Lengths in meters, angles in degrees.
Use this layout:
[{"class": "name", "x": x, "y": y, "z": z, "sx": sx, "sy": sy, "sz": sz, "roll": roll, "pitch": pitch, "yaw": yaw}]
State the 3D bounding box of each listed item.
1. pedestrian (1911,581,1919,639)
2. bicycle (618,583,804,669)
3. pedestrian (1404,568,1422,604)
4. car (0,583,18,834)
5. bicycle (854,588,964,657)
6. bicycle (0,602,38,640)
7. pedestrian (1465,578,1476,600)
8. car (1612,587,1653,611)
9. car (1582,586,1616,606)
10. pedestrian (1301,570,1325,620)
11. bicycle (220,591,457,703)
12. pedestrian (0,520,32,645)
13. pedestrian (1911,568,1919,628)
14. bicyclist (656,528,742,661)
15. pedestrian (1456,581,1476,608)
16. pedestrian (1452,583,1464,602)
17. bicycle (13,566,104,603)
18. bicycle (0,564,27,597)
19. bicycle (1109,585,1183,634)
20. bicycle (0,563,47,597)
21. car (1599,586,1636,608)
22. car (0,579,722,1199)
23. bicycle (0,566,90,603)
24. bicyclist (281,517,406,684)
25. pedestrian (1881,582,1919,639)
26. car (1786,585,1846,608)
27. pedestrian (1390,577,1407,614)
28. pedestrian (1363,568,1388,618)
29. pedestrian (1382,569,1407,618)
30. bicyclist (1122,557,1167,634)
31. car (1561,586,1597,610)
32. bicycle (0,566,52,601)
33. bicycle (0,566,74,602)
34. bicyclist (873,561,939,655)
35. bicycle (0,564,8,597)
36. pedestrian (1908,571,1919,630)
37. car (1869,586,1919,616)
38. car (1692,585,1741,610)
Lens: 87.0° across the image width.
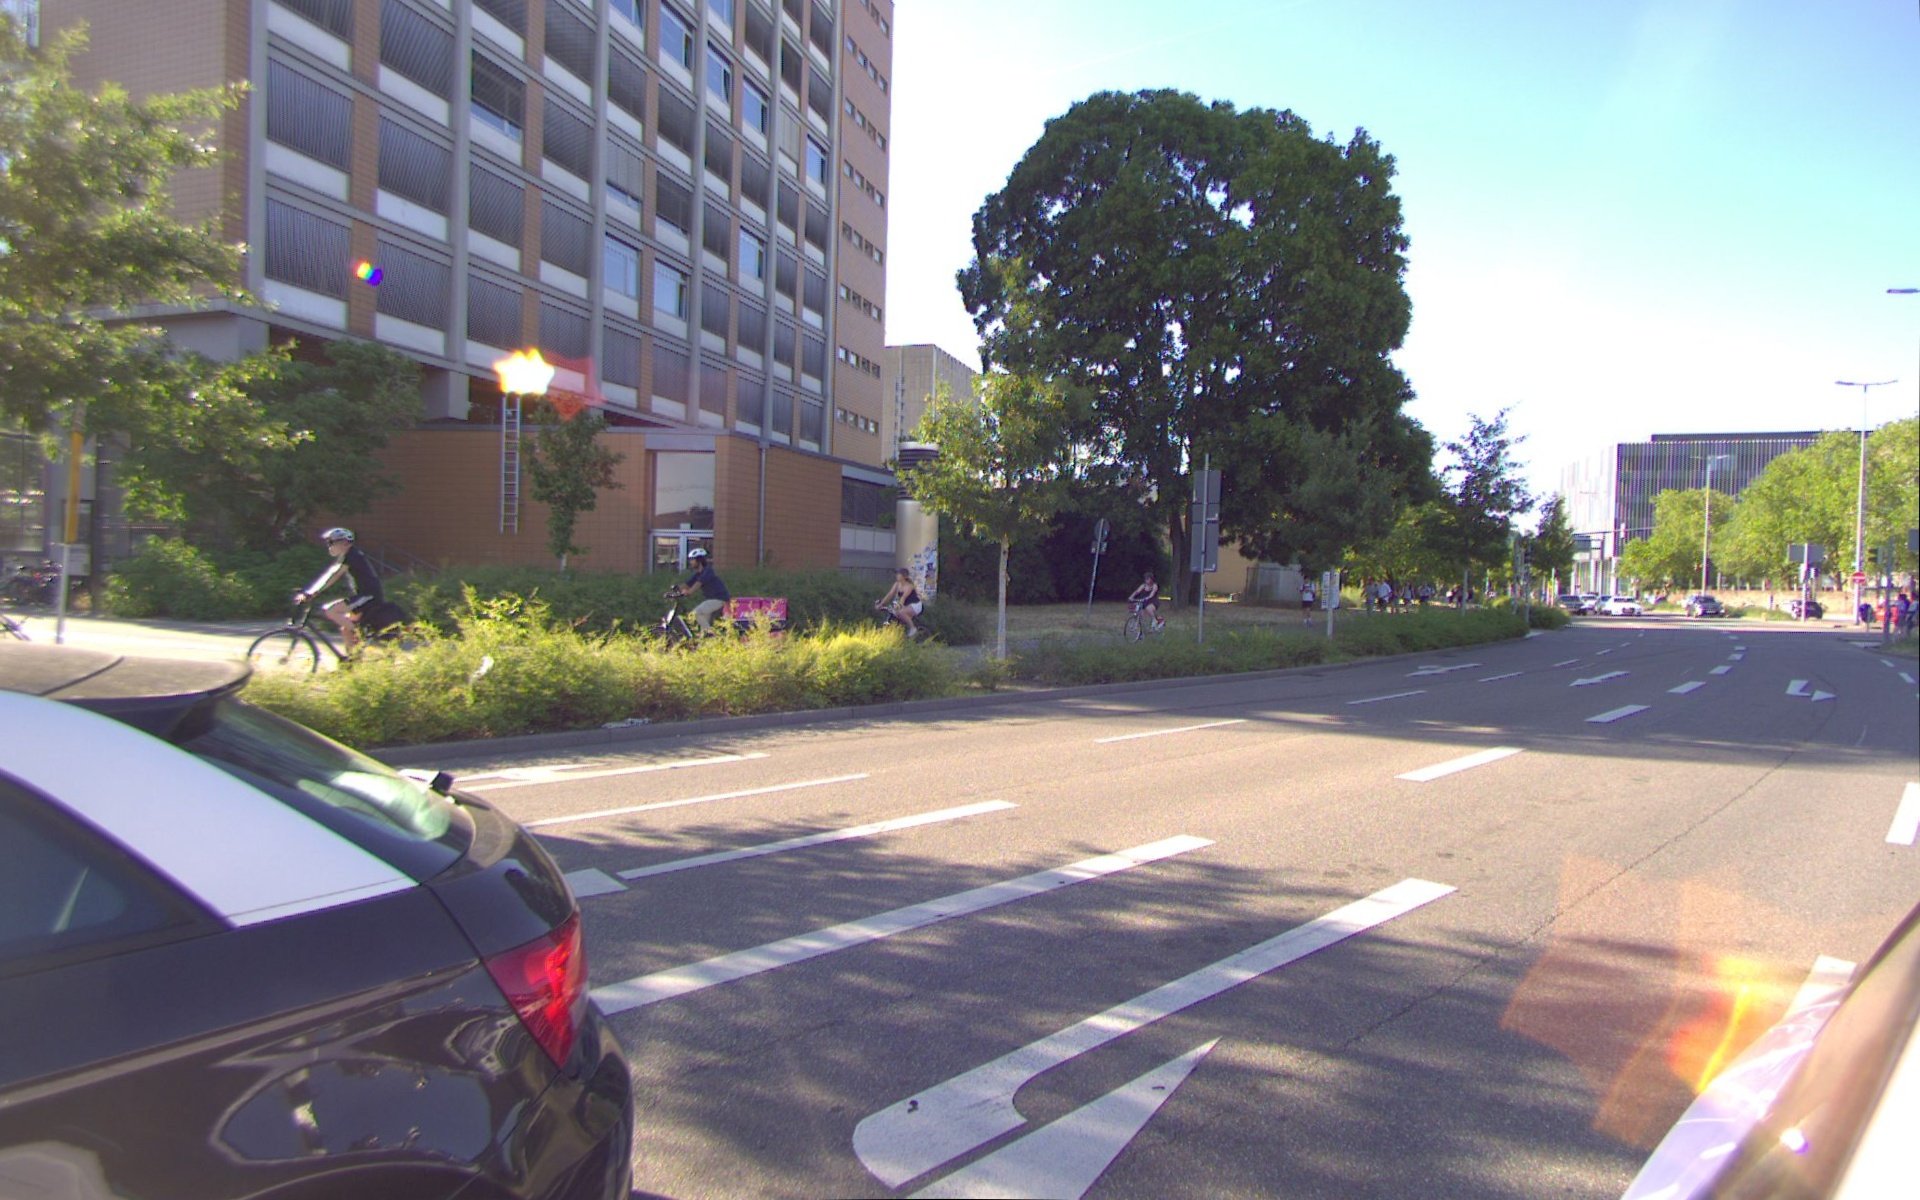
[{"class": "pedestrian", "x": 29.760, "y": 0.313, "z": 30.914, "sx": 0.923, "sy": 1.762, "sz": 0.776, "roll": 2, "pitch": 1, "yaw": 39}, {"class": "bicycle", "x": -3.622, "y": 0.369, "z": 14.783, "sx": 2.527, "sy": 1.170, "sz": 0.782, "roll": 1, "pitch": 1, "yaw": -24}, {"class": "pedestrian", "x": 22.597, "y": -0.704, "z": 50.451, "sx": 0.667, "sy": 1.725, "sz": 0.872, "roll": 2, "pitch": 1, "yaw": 18}, {"class": "car", "x": -6.996, "y": 0.635, "z": 4.522, "sx": 3.905, "sy": 1.462, "sz": 1.805, "roll": 0, "pitch": 0, "yaw": -38}, {"class": "bicycle", "x": -0.864, "y": 0.391, "z": 17.544, "sx": 1.836, "sy": 1.135, "sz": 0.718, "roll": 2, "pitch": -1, "yaw": -41}, {"class": "bicycle", "x": -14.535, "y": 0.312, "z": 14.918, "sx": 0.428, "sy": 0.546, "sz": 1.340, "roll": 4, "pitch": 2, "yaw": 35}, {"class": "pedestrian", "x": 41.542, "y": -0.879, "z": 82.374, "sx": 0.705, "sy": 1.734, "sz": 0.728, "roll": 2, "pitch": 1, "yaw": 24}, {"class": "car", "x": 47.424, "y": -0.092, "z": 71.410, "sx": 1.786, "sy": 1.538, "sz": 4.391, "roll": 2, "pitch": 2, "yaw": 26}, {"class": "car", "x": 53.084, "y": -0.378, "z": 84.126, "sx": 1.907, "sy": 1.538, "sz": 3.981, "roll": 2, "pitch": 2, "yaw": 26}, {"class": "pedestrian", "x": 12.237, "y": -0.185, "z": 35.080, "sx": 0.618, "sy": 1.720, "sz": 0.623, "roll": 2, "pitch": 1, "yaw": 32}, {"class": "bicycle", "x": -7.235, "y": 0.490, "z": 11.885, "sx": 0.778, "sy": 1.170, "sz": 2.255, "roll": 3, "pitch": 2, "yaw": 43}, {"class": "pedestrian", "x": -13.349, "y": -0.231, "z": 13.811, "sx": 0.774, "sy": 1.680, "sz": 0.810, "roll": 0, "pitch": -1, "yaw": -24}, {"class": "pedestrian", "x": 28.694, "y": -0.035, "z": 29.774, "sx": 0.923, "sy": 1.762, "sz": 0.746, "roll": 2, "pitch": 2, "yaw": 39}, {"class": "bicyclist", "x": -3.795, "y": -0.088, "z": 14.689, "sx": 1.070, "sy": 1.856, "sz": 0.782, "roll": 1, "pitch": 1, "yaw": -24}, {"class": "pedestrian", "x": 33.931, "y": -0.399, "z": 67.823, "sx": 1.005, "sy": 1.771, "sz": 0.845, "roll": 2, "pitch": 1, "yaw": 18}, {"class": "pedestrian", "x": 42.598, "y": -0.667, "z": 86.544, "sx": 0.753, "sy": 1.562, "sz": 0.842, "roll": 2, "pitch": 1, "yaw": 18}, {"class": "bicycle", "x": -22.319, "y": -0.383, "z": 25.088, "sx": 0.522, "sy": 0.868, "sz": 1.644, "roll": 2, "pitch": 1, "yaw": 19}, {"class": "bicycle", "x": -25.501, "y": -0.514, "z": 26.415, "sx": 0.522, "sy": 0.868, "sz": 1.644, "roll": 2, "pitch": 1, "yaw": 19}, {"class": "bicycle", "x": 4.520, "y": 0.209, "z": 24.525, "sx": 2.032, "sy": 1.135, "sz": 0.718, "roll": -1, "pitch": 0, "yaw": -43}, {"class": "bicycle", "x": -24.813, "y": -0.525, "z": 26.249, "sx": 0.522, "sy": 0.868, "sz": 1.644, "roll": 2, "pitch": 1, "yaw": 19}, {"class": "car", "x": 50.598, "y": -0.259, "z": 77.958, "sx": 1.907, "sy": 1.538, "sz": 3.981, "roll": 2, "pitch": 2, "yaw": 26}, {"class": "car", "x": -2.440, "y": 0.701, "z": 1.065, "sx": 3.911, "sy": 1.462, "sz": 1.802, "roll": 0, "pitch": 0, "yaw": -43}, {"class": "bicycle", "x": -22.841, "y": -0.388, "z": 25.274, "sx": 0.522, "sy": 0.868, "sz": 1.644, "roll": 2, "pitch": 1, "yaw": 19}, {"class": "bicyclist", "x": -7.225, "y": -0.008, "z": 11.868, "sx": 0.778, "sy": 1.853, "sz": 1.076, "roll": 3, "pitch": 2, "yaw": 43}, {"class": "pedestrian", "x": 29.877, "y": 0.317, "z": 32.073, "sx": 0.923, "sy": 1.762, "sz": 0.746, "roll": 2, "pitch": 1, "yaw": 39}, {"class": "car", "x": 64.049, "y": -0.287, "z": 75.808, "sx": 2.172, "sy": 1.605, "sz": 4.569, "roll": 2, "pitch": 2, "yaw": 24}, {"class": "pedestrian", "x": 19.407, "y": -0.211, "z": 44.786, "sx": 0.616, "sy": 1.594, "sz": 0.634, "roll": 2, "pitch": 1, "yaw": 24}, {"class": "pedestrian", "x": 16.229, "y": -0.278, "z": 39.548, "sx": 0.609, "sy": 1.892, "sz": 0.578, "roll": 1, "pitch": 1, "yaw": -15}, {"class": "pedestrian", "x": 16.786, "y": -0.252, "z": 39.098, "sx": 0.609, "sy": 1.892, "sz": 0.578, "roll": 1, "pitch": 1, "yaw": -15}, {"class": "bicyclist", "x": 4.473, "y": -0.108, "z": 24.475, "sx": 0.835, "sy": 1.810, "sz": 0.716, "roll": 0, "pitch": 0, "yaw": -43}, {"class": "car", "x": 43.833, "y": -0.171, "z": 71.711, "sx": 1.786, "sy": 1.538, "sz": 3.964, "roll": 2, "pitch": 2, "yaw": 26}, {"class": "bicycle", "x": -24.016, "y": -0.417, "z": 25.515, "sx": 0.522, "sy": 0.868, "sz": 1.644, "roll": 2, "pitch": 1, "yaw": 19}, {"class": "bicycle", "x": -23.393, "y": -0.406, "z": 25.433, "sx": 0.522, "sy": 0.868, "sz": 1.644, "roll": 2, "pitch": 1, "yaw": 19}, {"class": "bicyclist", "x": -0.936, "y": 0.133, "z": 17.475, "sx": 0.834, "sy": 1.568, "sz": 0.716, "roll": 3, "pitch": -1, "yaw": -41}, {"class": "bicycle", "x": -26.137, "y": -0.522, "z": 26.561, "sx": 0.522, "sy": 0.868, "sz": 1.644, "roll": 2, "pitch": 1, "yaw": 19}, {"class": "pedestrian", "x": 29.152, "y": 0.028, "z": 30.372, "sx": 0.923, "sy": 1.762, "sz": 0.746, "roll": 2, "pitch": 2, "yaw": 39}, {"class": "car", "x": 55.454, "y": 0.104, "z": 58.680, "sx": 2.163, "sy": 1.606, "sz": 4.585, "roll": 2, "pitch": 0, "yaw": 14}, {"class": "car", "x": 51.602, "y": -0.195, "z": 69.125, "sx": 1.907, "sy": 1.538, "sz": 3.981, "roll": 2, "pitch": 2, "yaw": 26}]
